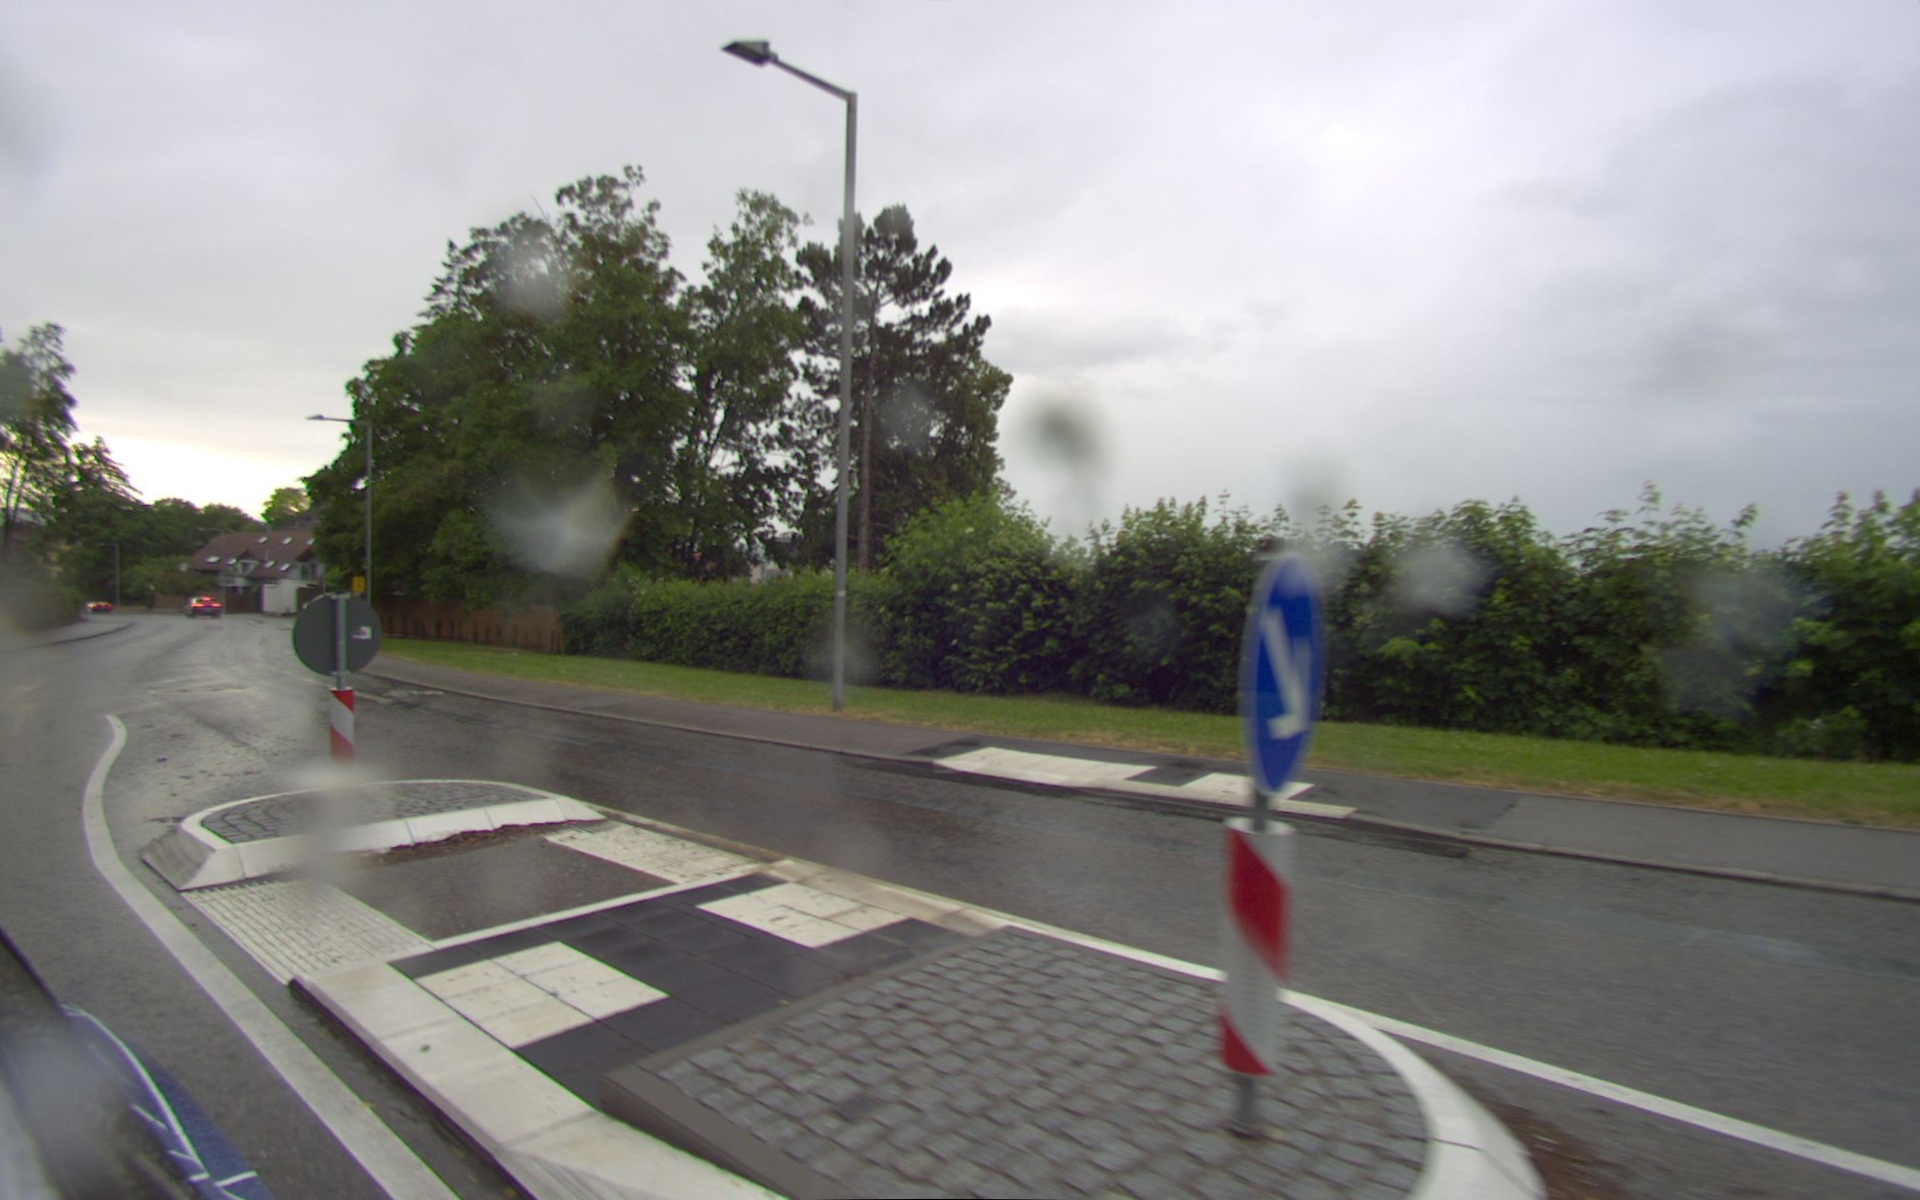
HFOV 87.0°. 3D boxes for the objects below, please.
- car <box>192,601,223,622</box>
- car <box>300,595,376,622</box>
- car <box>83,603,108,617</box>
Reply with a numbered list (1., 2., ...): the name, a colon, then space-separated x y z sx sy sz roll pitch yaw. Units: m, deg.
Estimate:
1. car: -61.332 0.941 82.536 1.893 1.660 4.557 1 -1 -36
2. car: -44.150 0.588 71.875 4.444 1.874 2.094 0 -1 -37
3. car: -96.241 1.104 112.668 1.813 1.523 4.171 0 0 -45
